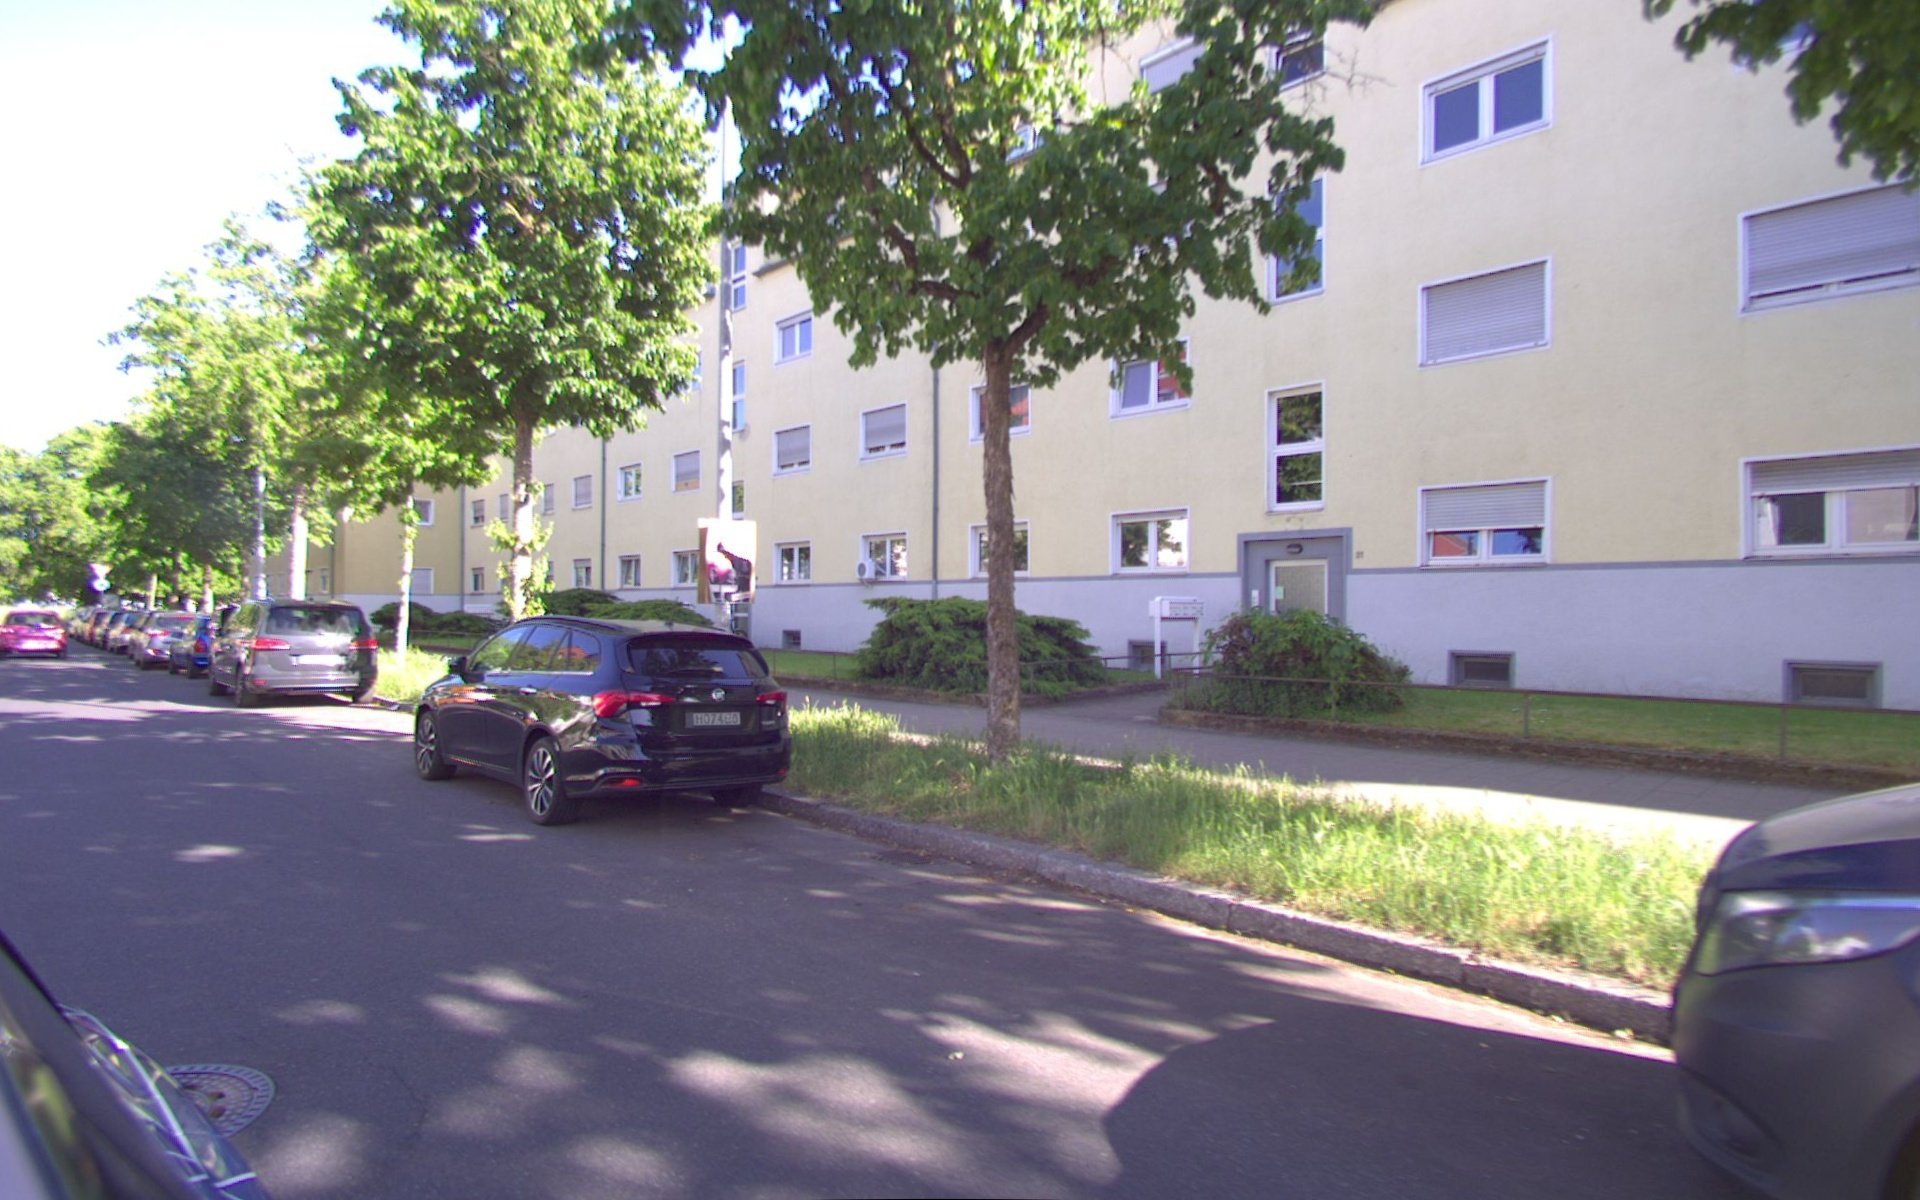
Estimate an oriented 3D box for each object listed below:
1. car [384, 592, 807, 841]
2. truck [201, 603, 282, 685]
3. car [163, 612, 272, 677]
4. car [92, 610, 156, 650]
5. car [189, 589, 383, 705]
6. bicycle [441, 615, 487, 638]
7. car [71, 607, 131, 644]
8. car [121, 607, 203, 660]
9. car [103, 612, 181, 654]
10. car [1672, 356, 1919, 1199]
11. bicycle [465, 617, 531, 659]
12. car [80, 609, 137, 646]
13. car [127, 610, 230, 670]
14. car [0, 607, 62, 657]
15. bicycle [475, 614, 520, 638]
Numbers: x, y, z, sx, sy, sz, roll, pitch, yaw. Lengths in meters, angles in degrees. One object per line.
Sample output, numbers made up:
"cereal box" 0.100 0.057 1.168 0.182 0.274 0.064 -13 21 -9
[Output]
"car" -3.340 0.780 8.599 1.490 1.560 4.782 4 -3 -44
"truck" -14.716 0.865 20.692 1.071 1.589 2.435 1 -1 -42
"car" -17.417 0.985 23.684 3.729 1.406 1.503 -1 -1 45
"car" -32.619 1.141 39.437 1.645 1.470 3.936 1 -1 -43
"car" -11.601 0.763 17.258 1.827 1.693 4.980 4 -4 -44
"bicycle" -20.386 1.092 41.623 0.481 0.938 1.614 -1 -2 43
"car" -39.270 1.147 46.209 4.737 1.577 1.672 -1 -1 45
"car" -24.670 1.018 31.232 1.601 1.527 4.273 4 -3 -43
"car" -28.770 1.135 35.534 1.725 1.379 4.678 2 -2 -43
"car" 3.996 0.496 0.997 1.804 1.919 5.147 3 -2 -43
"bicycle" -12.421 1.005 27.219 1.833 1.089 0.483 0 1 23
"car" -36.093 1.150 42.899 1.645 1.497 3.259 1 -1 -44
"car" -20.932 1.029 27.029 1.770 1.455 4.693 3 -3 -42
"car" -28.094 0.947 30.390 1.488 1.437 3.179 2 -2 -45
"bicycle" -18.533 1.049 40.565 0.480 0.938 1.617 -1 -2 38
